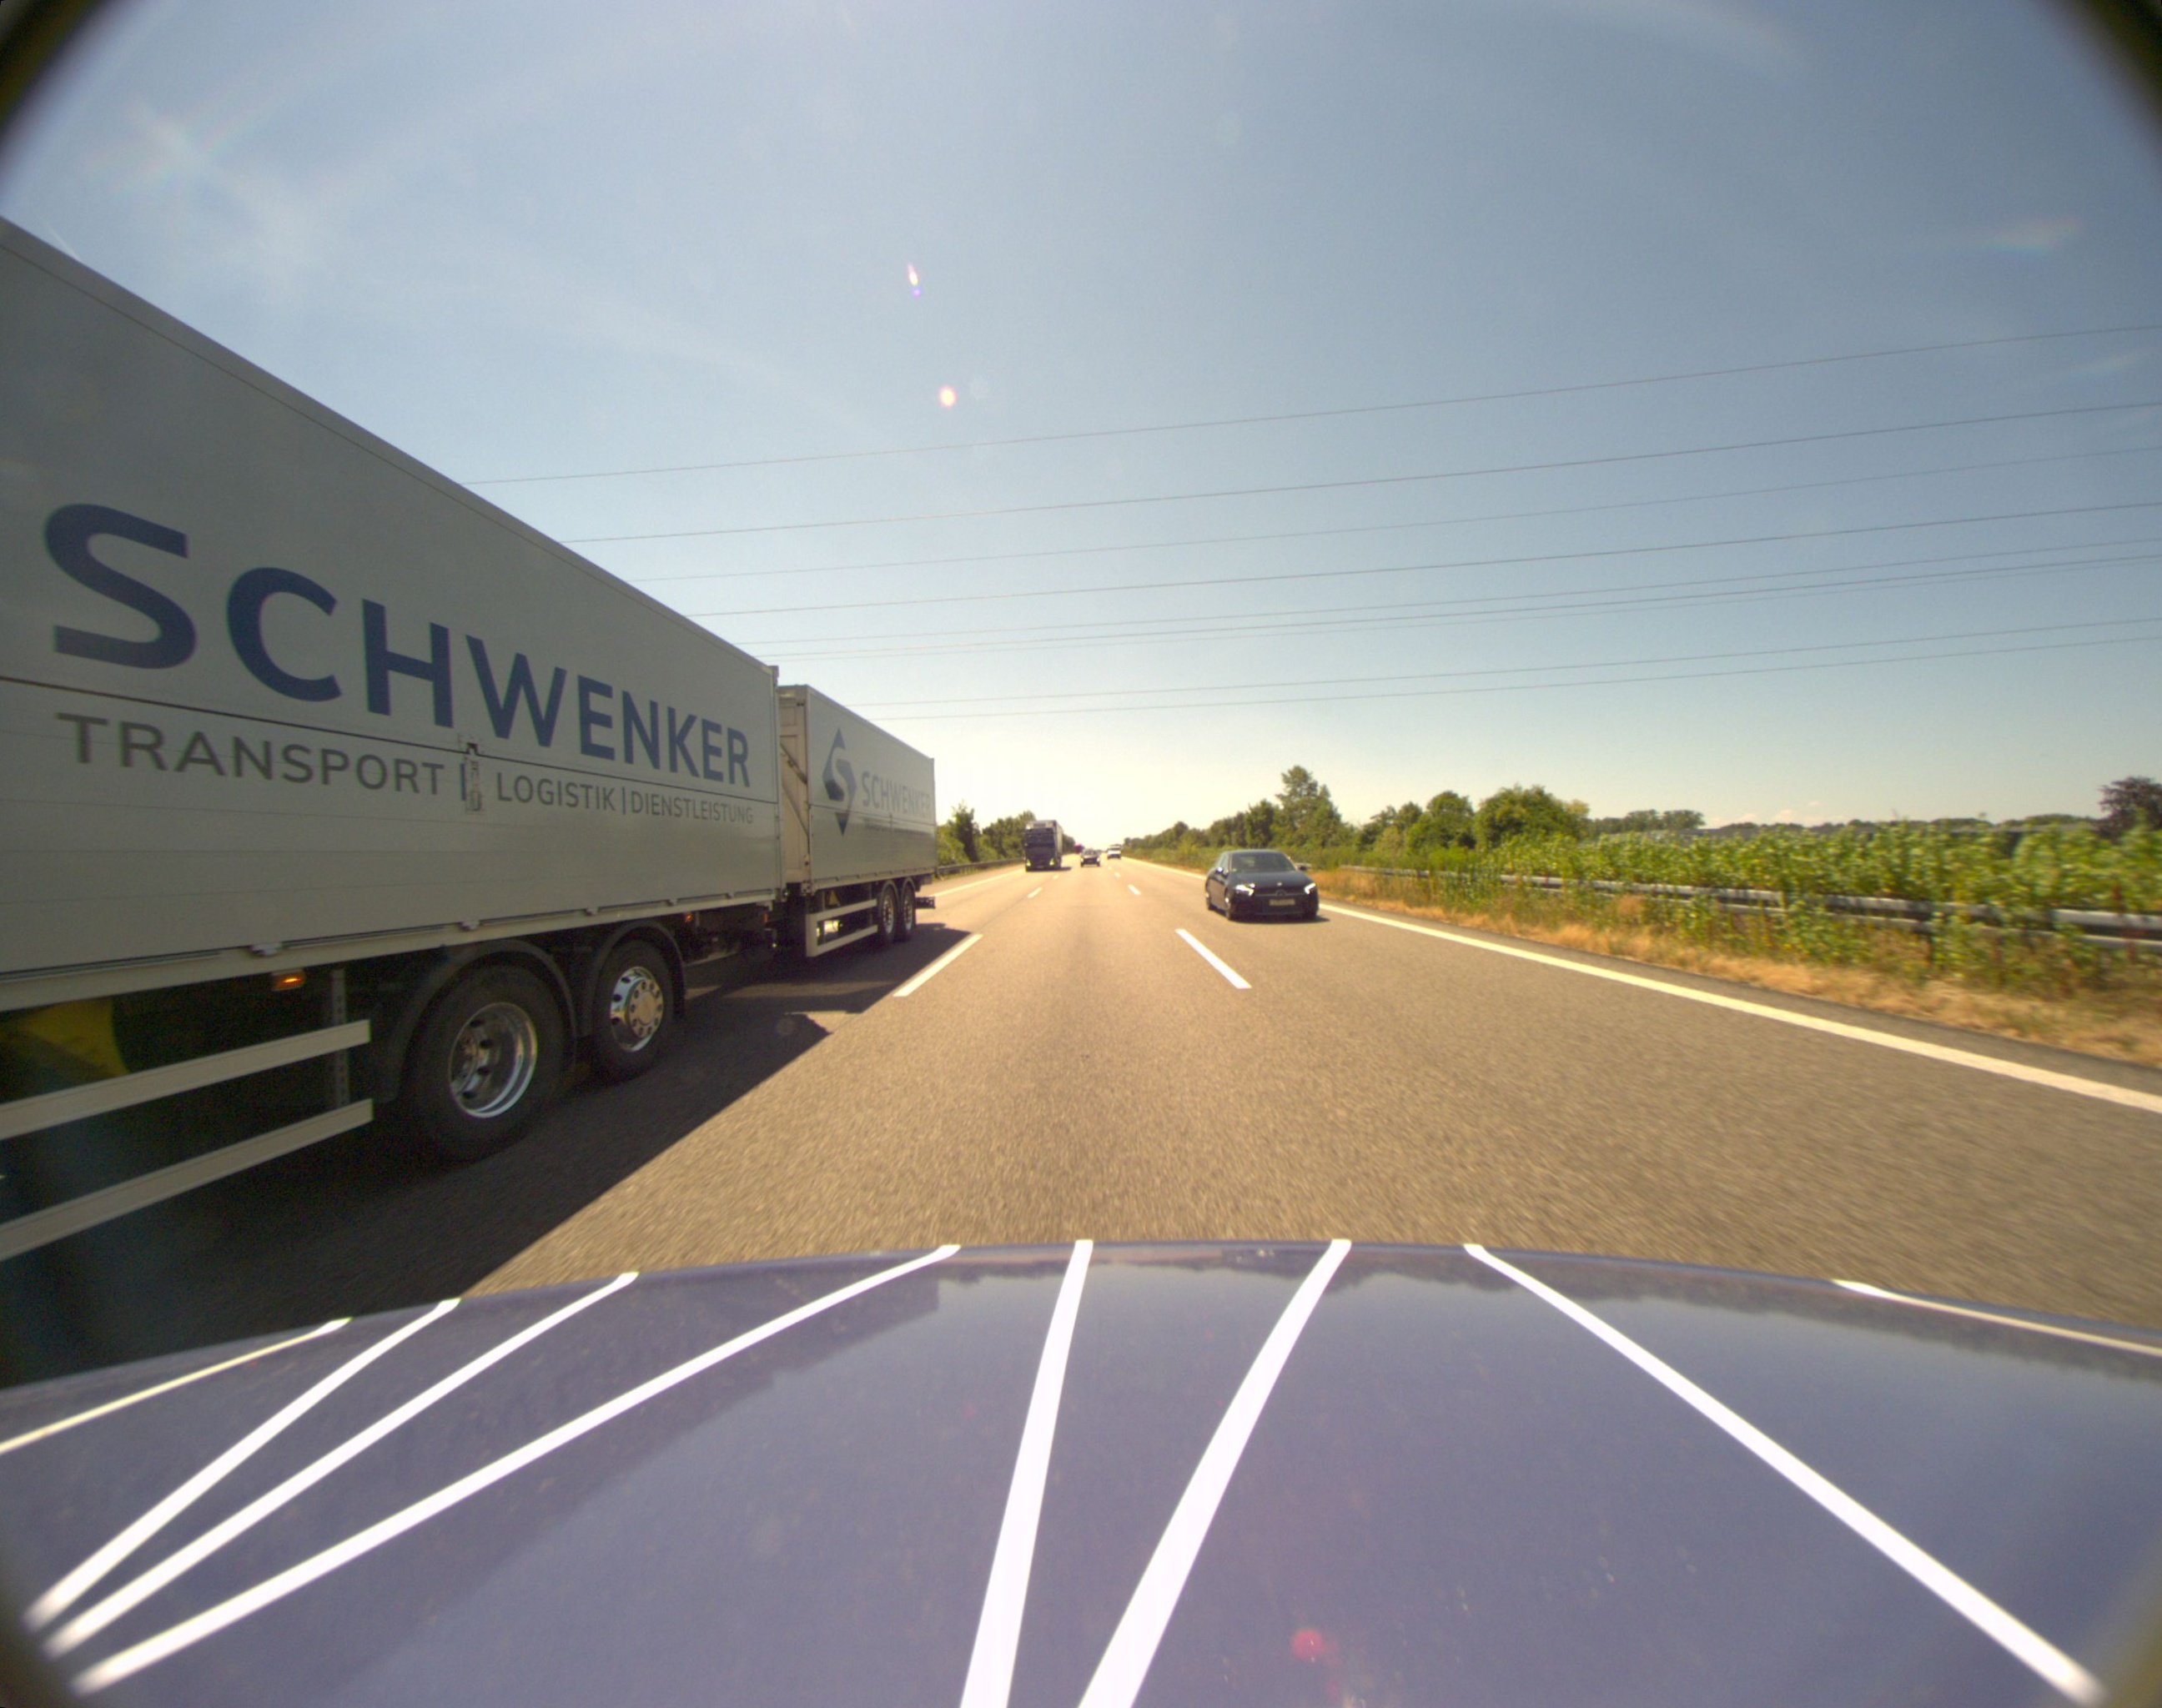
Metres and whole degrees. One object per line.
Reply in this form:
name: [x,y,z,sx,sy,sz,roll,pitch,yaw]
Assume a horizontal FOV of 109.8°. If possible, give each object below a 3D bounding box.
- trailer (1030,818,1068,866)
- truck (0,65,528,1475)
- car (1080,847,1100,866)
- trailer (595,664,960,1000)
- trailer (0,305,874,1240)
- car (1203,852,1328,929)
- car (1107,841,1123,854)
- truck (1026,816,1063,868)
trailer: [-2.767,-1.037,69.257,2.559,3.932,13.537,-2,1,1]
truck: [-4.540,-0.211,0.594,2.896,4.007,6.869,-2,1,1]
car: [0.832,0.238,71.528,1.796,1.696,4.000,-1,1,1]
trailer: [-4.398,-0.310,13.461,2.952,4.039,8.127,-2,1,1]
trailer: [-4.479,-0.351,6.985,2.927,4.018,7.316,-2,1,1]
car: [3.868,0.699,16.643,1.796,1.403,4.052,-1,1,1]
car: [5.167,-0.996,116.523,2.147,1.810,5.267,-2,1,1]
truck: [-2.888,-0.952,61.699,2.559,3.932,6.513,-2,1,1]
